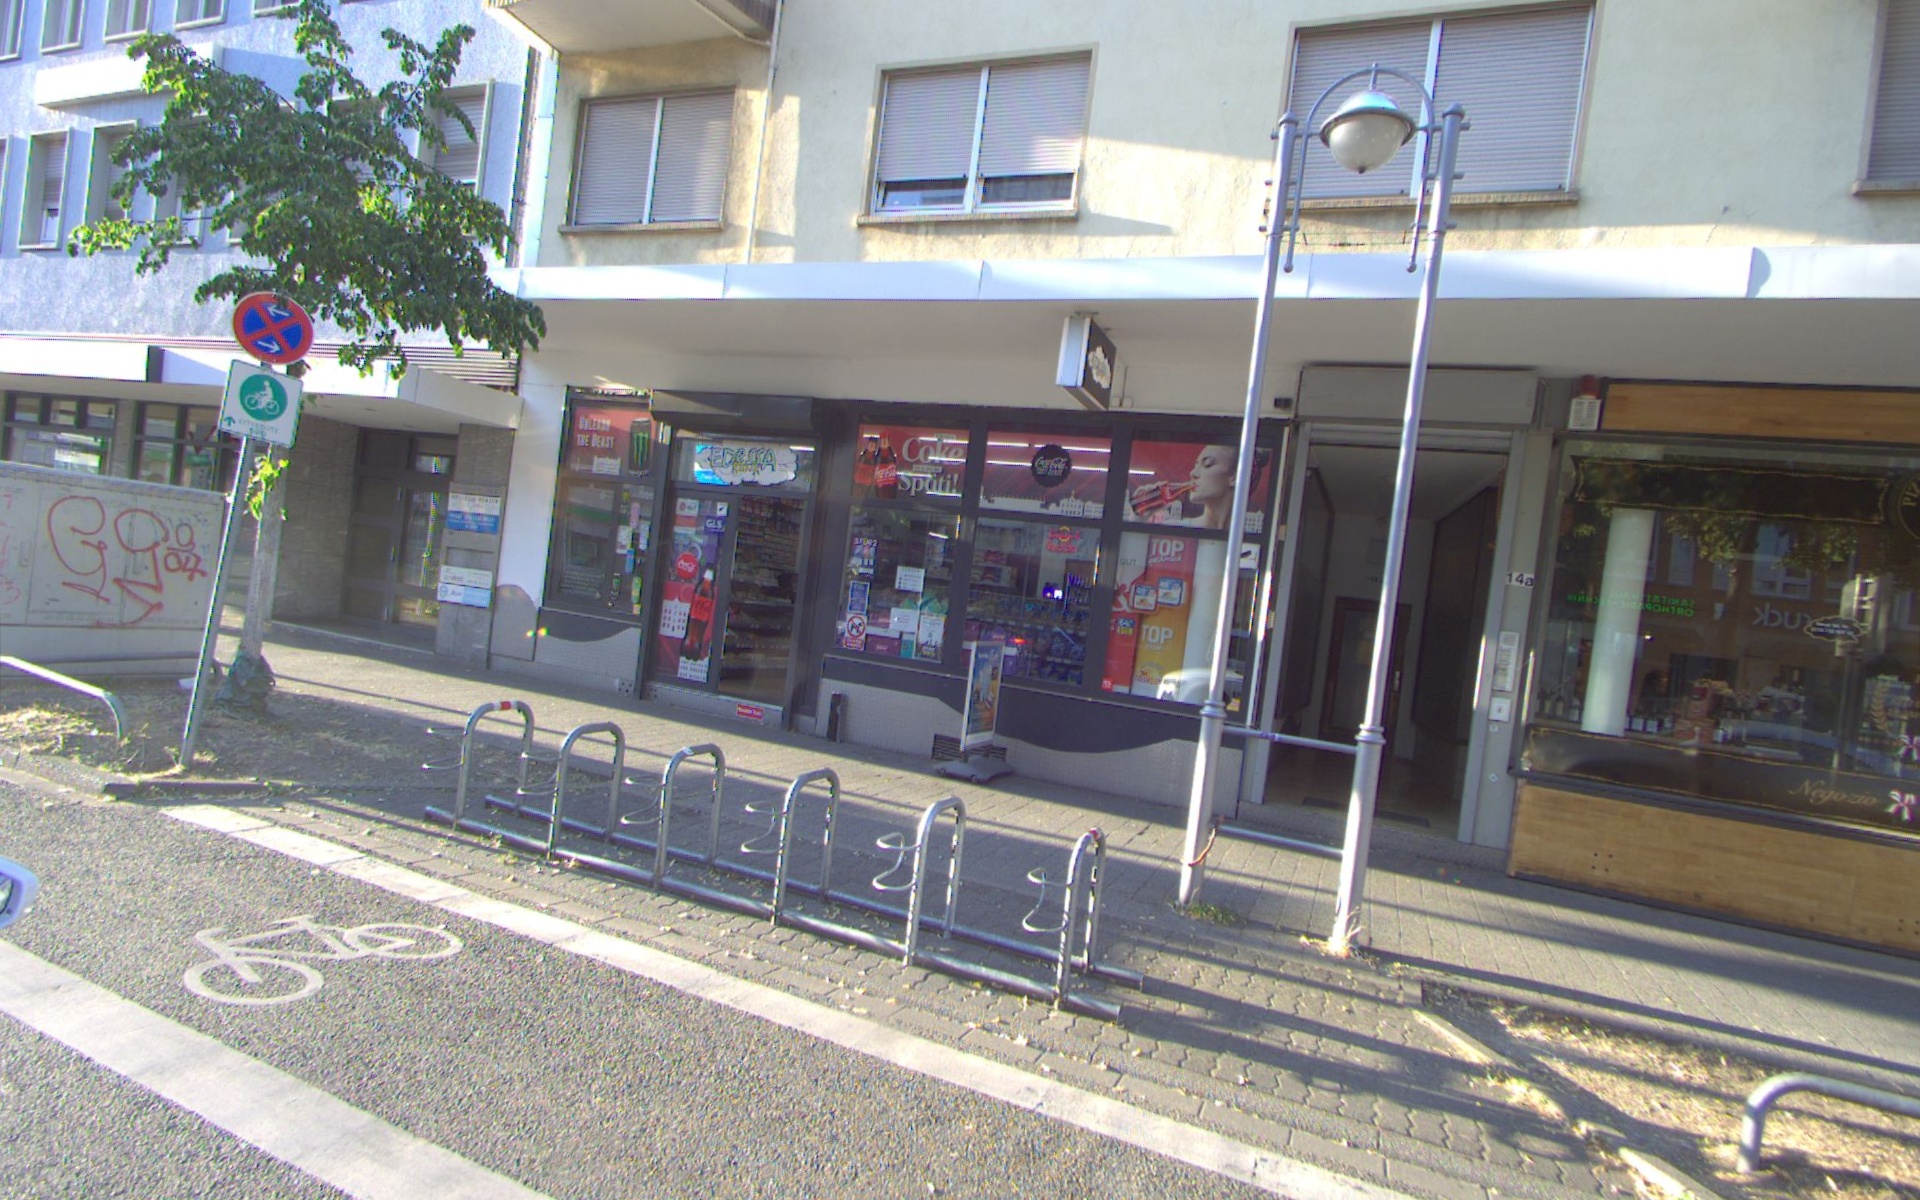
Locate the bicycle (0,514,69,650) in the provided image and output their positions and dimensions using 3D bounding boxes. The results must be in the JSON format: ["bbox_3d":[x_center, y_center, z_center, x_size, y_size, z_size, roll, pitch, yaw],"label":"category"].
[{"bbox_3d":[-9.141,-0.216,9.118,0.376,1.234,1.446,7,-1,25],"label":"bicycle"}]
